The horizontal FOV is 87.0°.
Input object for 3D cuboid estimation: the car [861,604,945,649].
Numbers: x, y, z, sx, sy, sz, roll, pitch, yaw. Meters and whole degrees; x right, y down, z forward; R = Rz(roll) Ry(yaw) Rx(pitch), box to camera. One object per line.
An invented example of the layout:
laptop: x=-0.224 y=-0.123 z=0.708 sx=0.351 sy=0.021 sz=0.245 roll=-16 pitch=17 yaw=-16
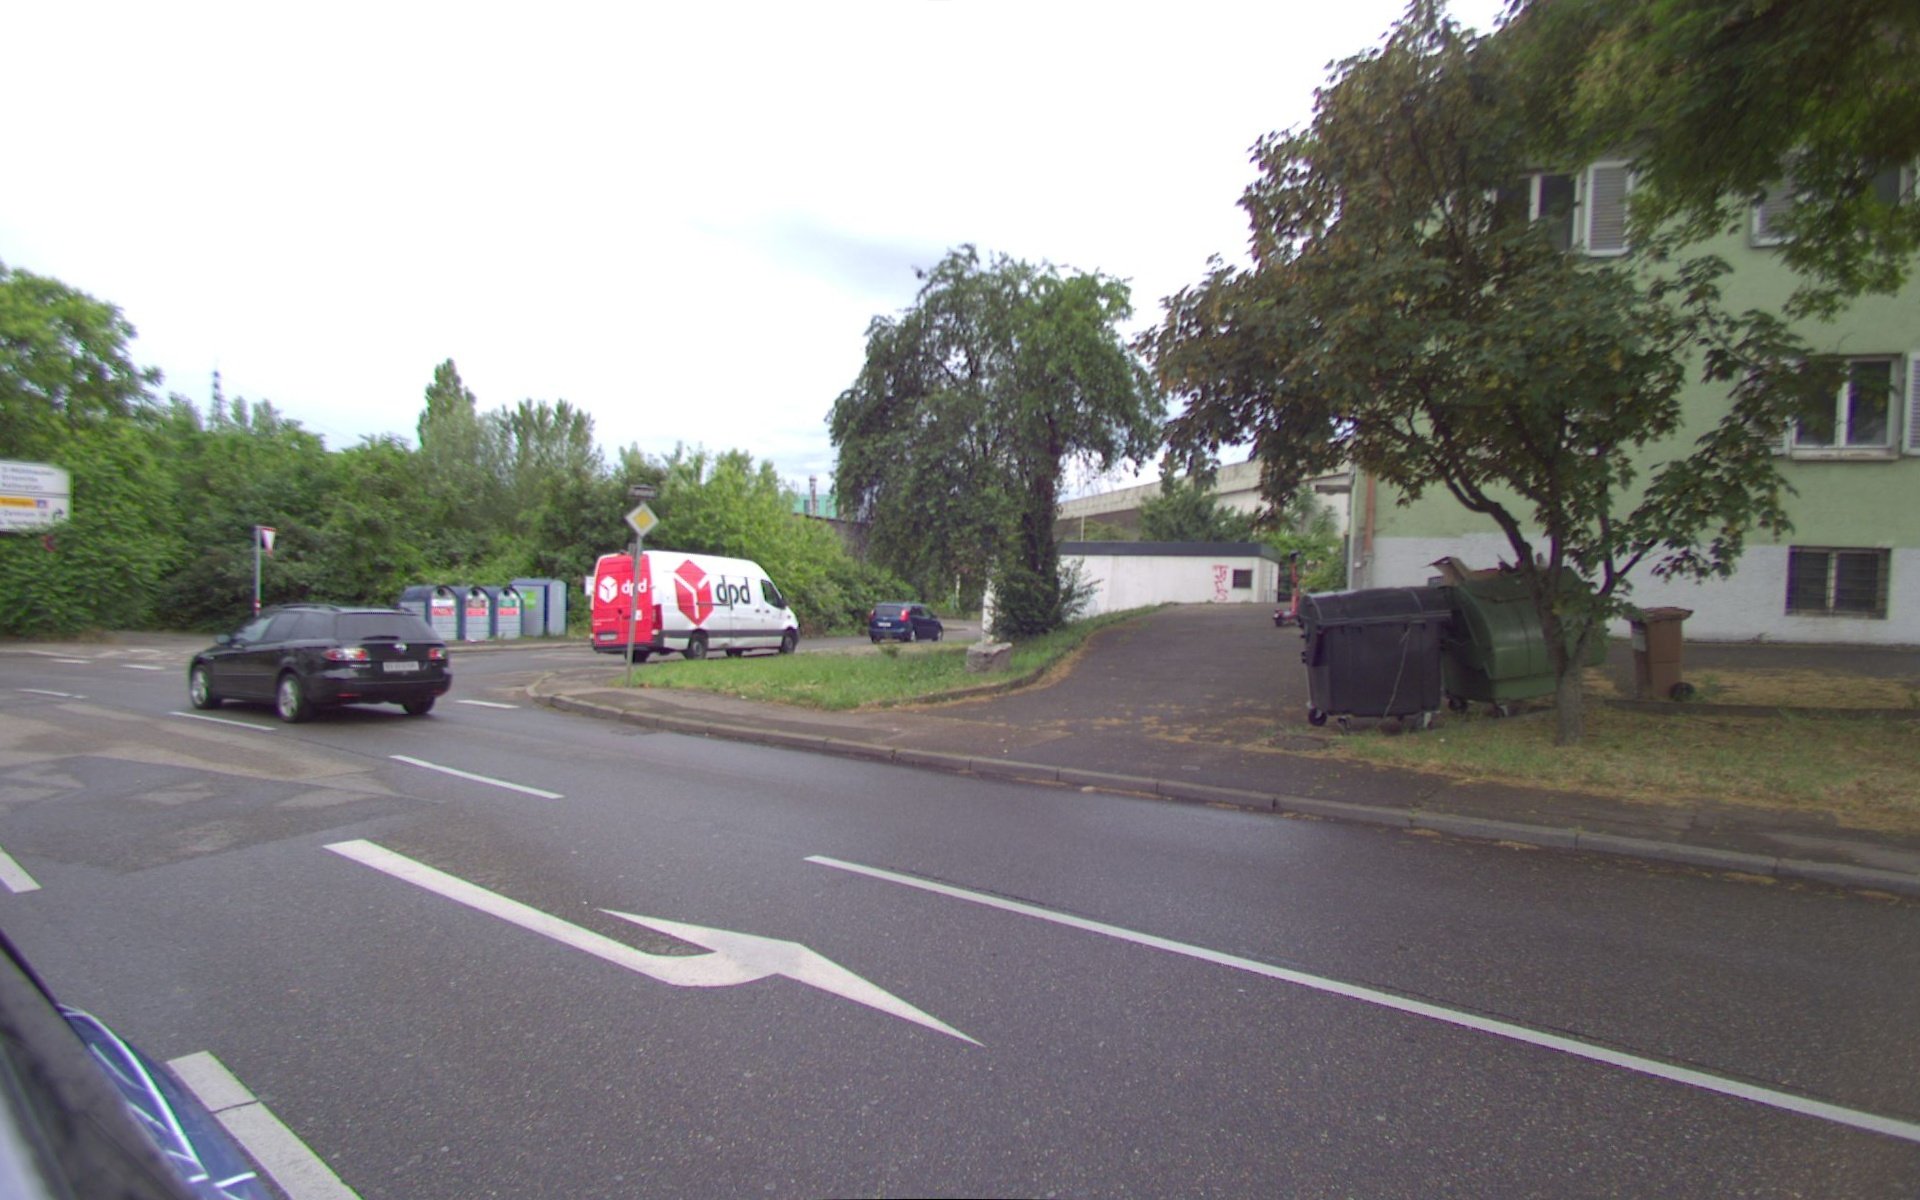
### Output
car: x=-2.210 y=0.994 z=40.389 sx=1.984 sy=1.642 sz=4.228 roll=1 pitch=1 yaw=18

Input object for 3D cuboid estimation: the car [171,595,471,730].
car: x=-8.768 y=0.743 z=13.784 sx=4.400 sy=1.581 sz=1.827 roll=0 pitch=-1 yaw=34

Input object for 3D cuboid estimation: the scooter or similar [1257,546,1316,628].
scooter or similar: x=5.540 y=-0.239 z=17.125 sx=0.529 sy=1.283 sz=1.507 roll=1 pitch=4 yaw=35

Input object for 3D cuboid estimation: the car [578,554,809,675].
car: x=-6.494 y=0.299 z=25.899 sx=2.246 sy=2.675 sz=6.777 roll=1 pitch=0 yaw=20

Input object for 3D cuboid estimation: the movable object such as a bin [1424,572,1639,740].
movable object such as a bin: x=5.718 y=0.514 z=10.210 sx=1.440 sy=1.448 sz=1.102 roll=-5 pitch=3 yaw=-6

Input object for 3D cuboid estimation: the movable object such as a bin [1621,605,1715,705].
movable object such as a bin: x=7.219 y=0.536 z=10.324 sx=0.723 sy=0.964 sz=0.551 roll=1 pitch=0 yaw=41

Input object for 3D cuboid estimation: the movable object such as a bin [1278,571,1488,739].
movable object such as a bin: x=4.262 y=0.504 z=10.319 sx=1.440 sy=1.448 sz=1.296 roll=-5 pitch=3 yaw=-6
